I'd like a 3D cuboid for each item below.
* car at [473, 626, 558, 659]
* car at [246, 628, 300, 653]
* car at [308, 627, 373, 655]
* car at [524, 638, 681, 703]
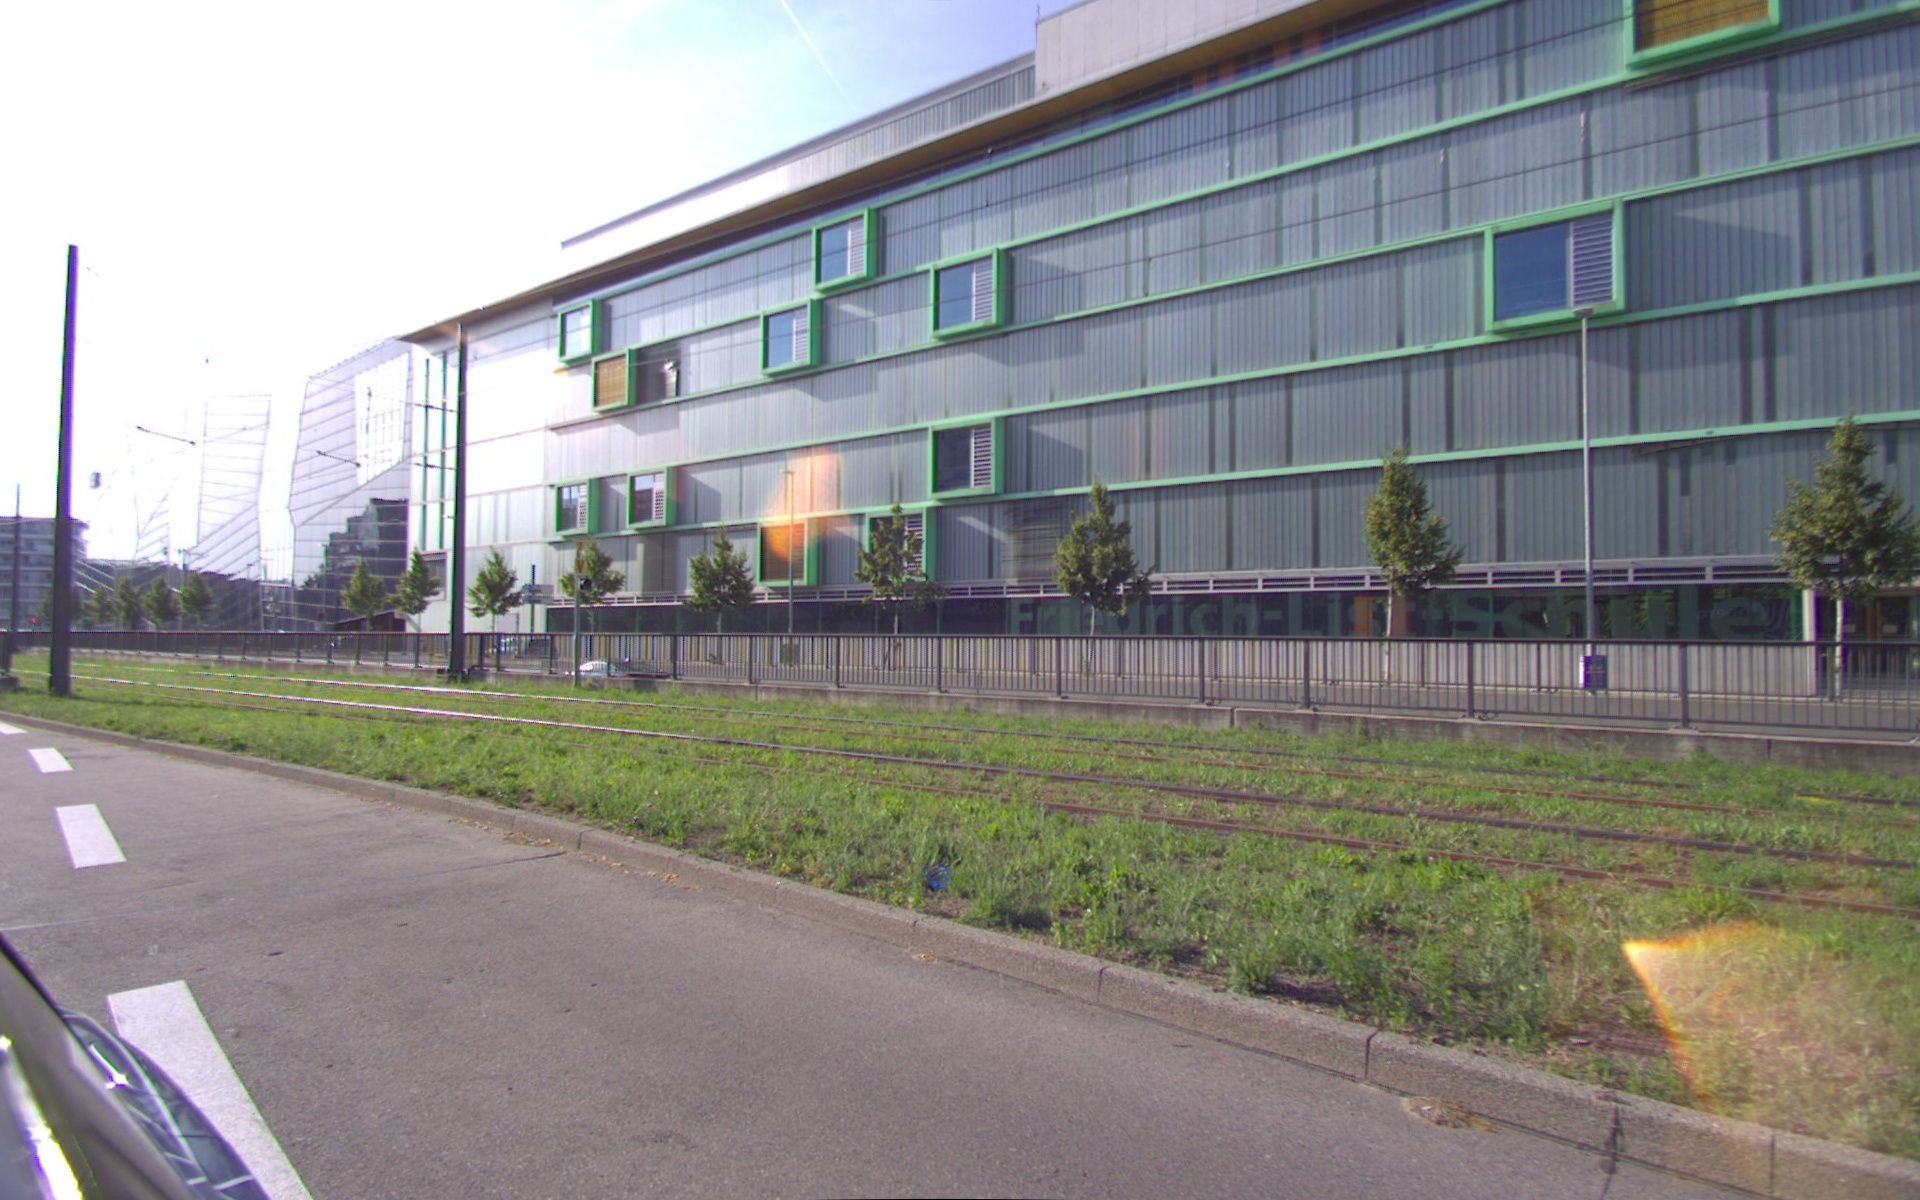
[{"bbox_3d":[-19.956,1.875,45.369,4.177,1.433,1.645,-1,-2,36],"label":"car"},{"bbox_3d":[-46.282,2.733,68.146,4.021,1.619,1.754,-1,-2,37],"label":"car"},{"bbox_3d":[-34.527,2.263,56.353,4.021,1.498,1.754,-1,-2,37],"label":"car"},{"bbox_3d":[-10.456,1.979,29.464,4.717,1.700,1.975,-1,-2,36],"label":"car"}]
